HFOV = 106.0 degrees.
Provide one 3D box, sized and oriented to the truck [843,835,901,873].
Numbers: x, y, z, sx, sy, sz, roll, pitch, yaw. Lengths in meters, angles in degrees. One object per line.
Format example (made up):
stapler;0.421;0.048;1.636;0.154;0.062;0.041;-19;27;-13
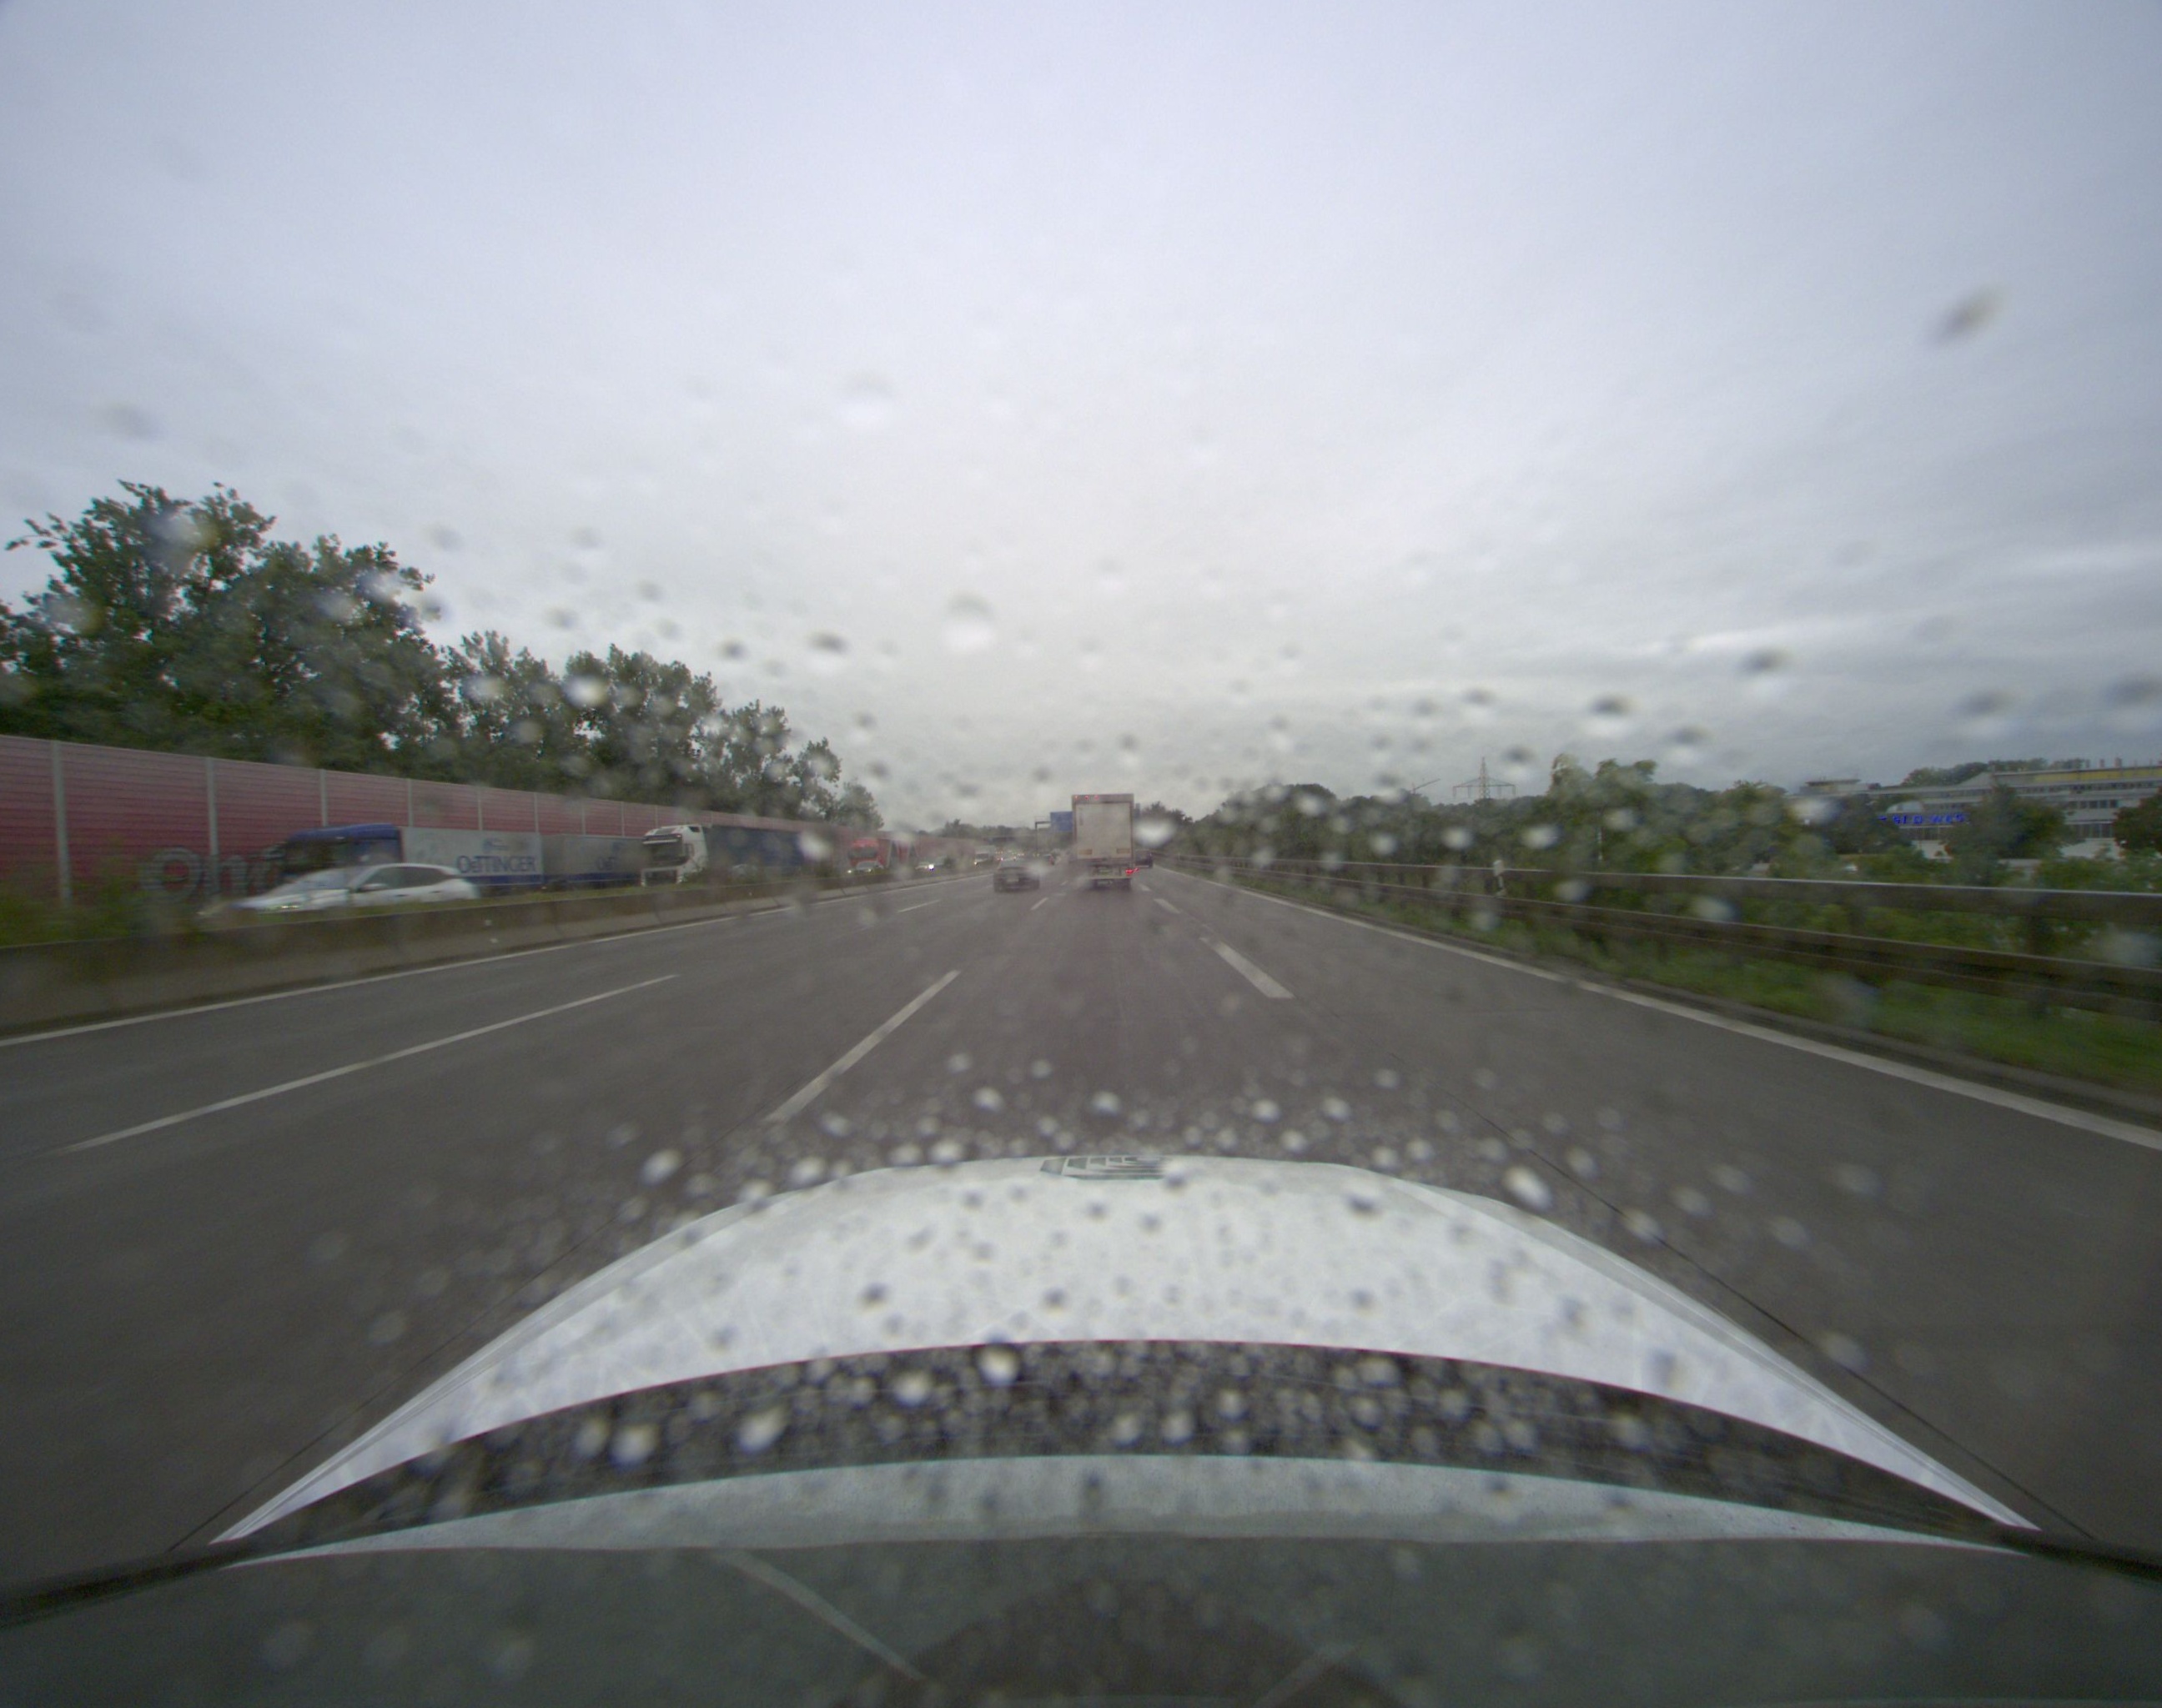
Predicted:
truck;-20.868;-0.023;82.076;2.771;3.490;10.620;-2;0;1

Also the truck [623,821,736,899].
truck;-21.965;0.307;44.933;3.034;4.027;6.054;0;0;2

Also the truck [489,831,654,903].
truck;-26.053;0.608;42.306;2.962;3.350;8.701;0;0;1

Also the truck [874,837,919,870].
truck;-20.646;-0.025;91.624;2.771;3.490;8.495;-2;0;1

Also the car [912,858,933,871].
car;-23.462;1.556;120.730;1.986;1.648;4.539;-3;0;1

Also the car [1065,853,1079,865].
car;-1.310;0.689;118.787;1.887;1.723;4.002;-2;0;2

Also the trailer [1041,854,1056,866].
trailer;-4.707;0.830;117.626;1.808;1.624;4.570;-1;0;2

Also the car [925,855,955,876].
car;-13.230;1.048;76.628;1.986;1.859;4.390;-2;0;1

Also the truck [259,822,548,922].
truck;-26.264;0.610;32.683;2.703;3.350;10.434;0;0;1

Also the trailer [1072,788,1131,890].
trailer;1.083;-0.666;40.990;2.334;4.157;14.833;-1;0;2

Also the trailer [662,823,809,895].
trailer;-21.664;0.271;52.571;3.034;4.027;14.133;0;0;2

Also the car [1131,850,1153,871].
car;5.568;0.581;74.650;1.889;1.949;4.003;0;0;3

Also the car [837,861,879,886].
car;-17.715;1.537;64.780;1.986;1.859;4.390;-2;0;1

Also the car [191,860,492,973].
car;-15.438;1.178;17.485;1.986;2.013;4.792;-1;0;1

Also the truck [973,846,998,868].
truck;-12.577;0.421;107.627;2.258;2.828;7.281;0;0;1

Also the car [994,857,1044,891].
car;-2.718;0.863;36.784;1.719;1.403;4.830;-1;0;2
